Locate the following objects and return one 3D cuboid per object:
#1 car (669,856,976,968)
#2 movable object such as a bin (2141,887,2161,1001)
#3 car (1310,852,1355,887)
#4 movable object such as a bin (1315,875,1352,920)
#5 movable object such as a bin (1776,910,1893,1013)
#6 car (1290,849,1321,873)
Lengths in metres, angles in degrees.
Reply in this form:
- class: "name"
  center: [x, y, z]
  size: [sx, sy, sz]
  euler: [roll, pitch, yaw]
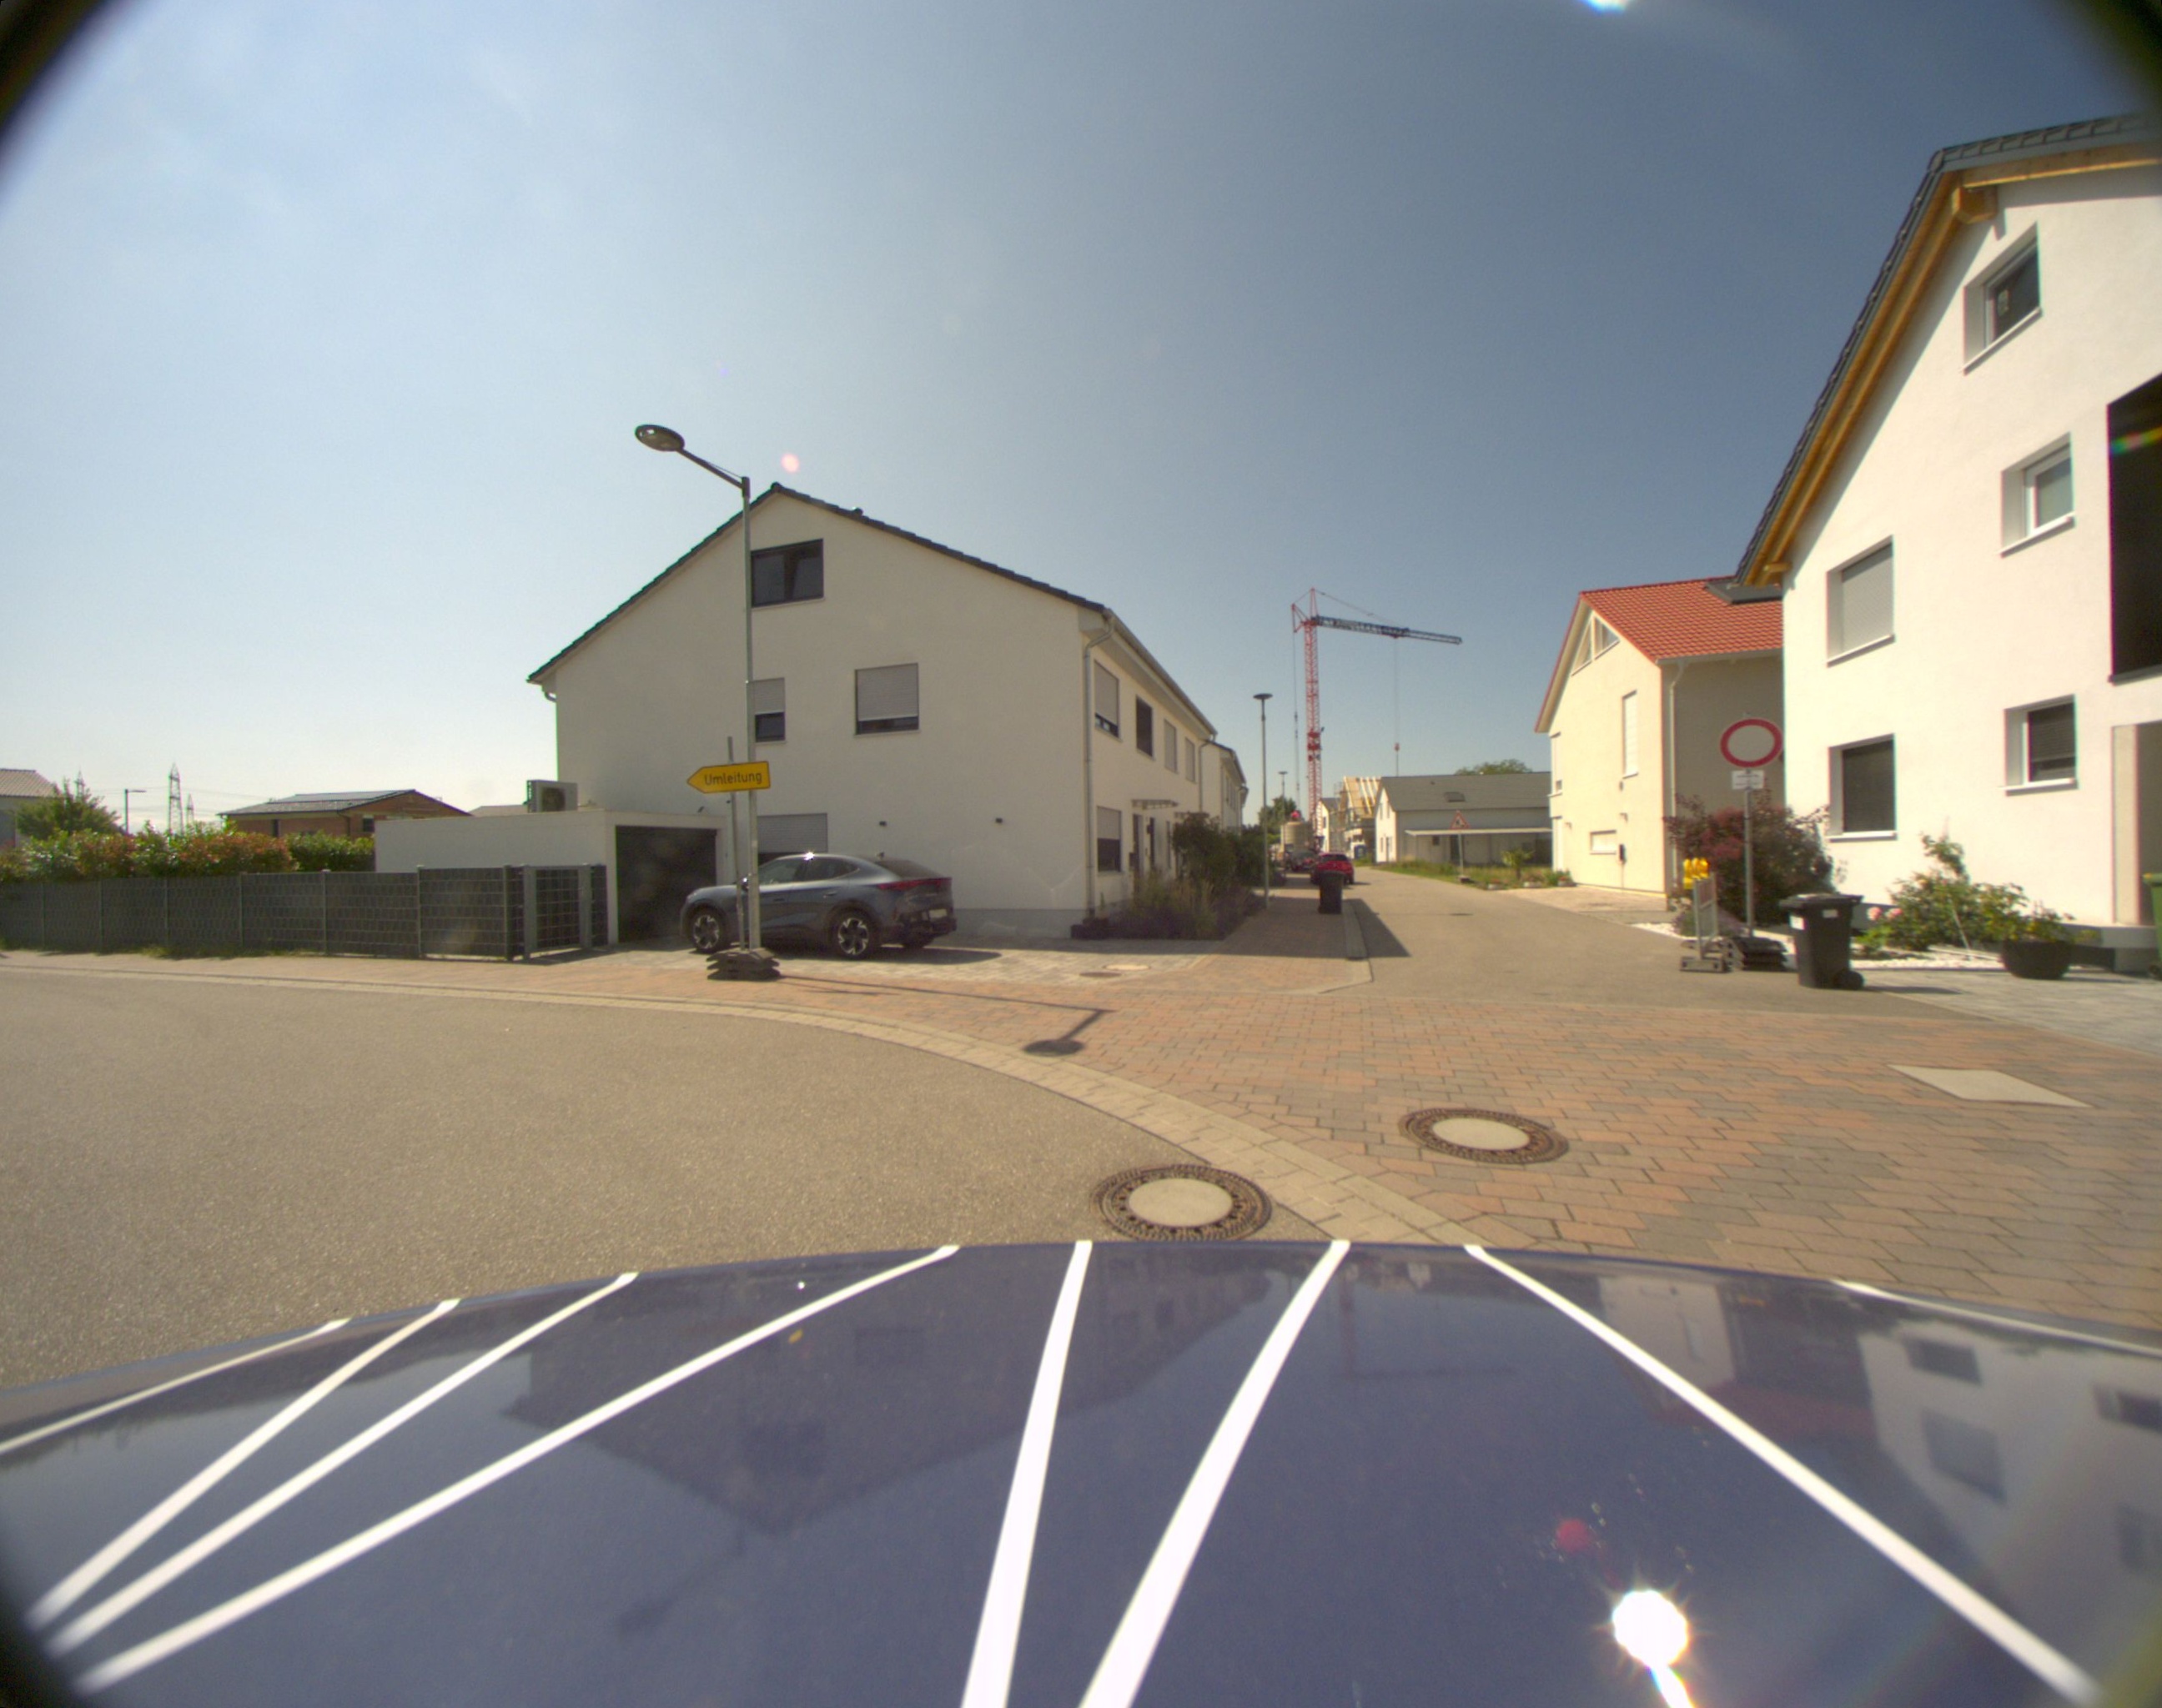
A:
- class: "car"
  center: [-4.113, 0.857, 12.210]
  size: [4.341, 1.549, 1.963]
  euler: [-1, 0, 19]
- class: "movable object such as a bin"
  center: [10.595, 0.860, 7.110]
  size: [0.499, 1.085, 0.602]
  euler: [-1, -1, 17]
- class: "car"
  center: [11.760, 0.680, 35.702]
  size: [1.908, 1.470, 4.004]
  euler: [-1, 1, 17]
- class: "movable object such as a bin"
  center: [6.209, 1.063, 18.723]
  size: [0.822, 1.058, 0.590]
  euler: [-1, 1, 17]
- class: "movable object such as a bin"
  center: [7.449, 1.045, 7.541]
  size: [0.617, 0.931, 0.565]
  euler: [-2, 0, 17]
- class: "car"
  center: [16.154, 0.485, 54.876]
  size: [1.800, 1.609, 3.678]
  euler: [-1, 1, 11]
